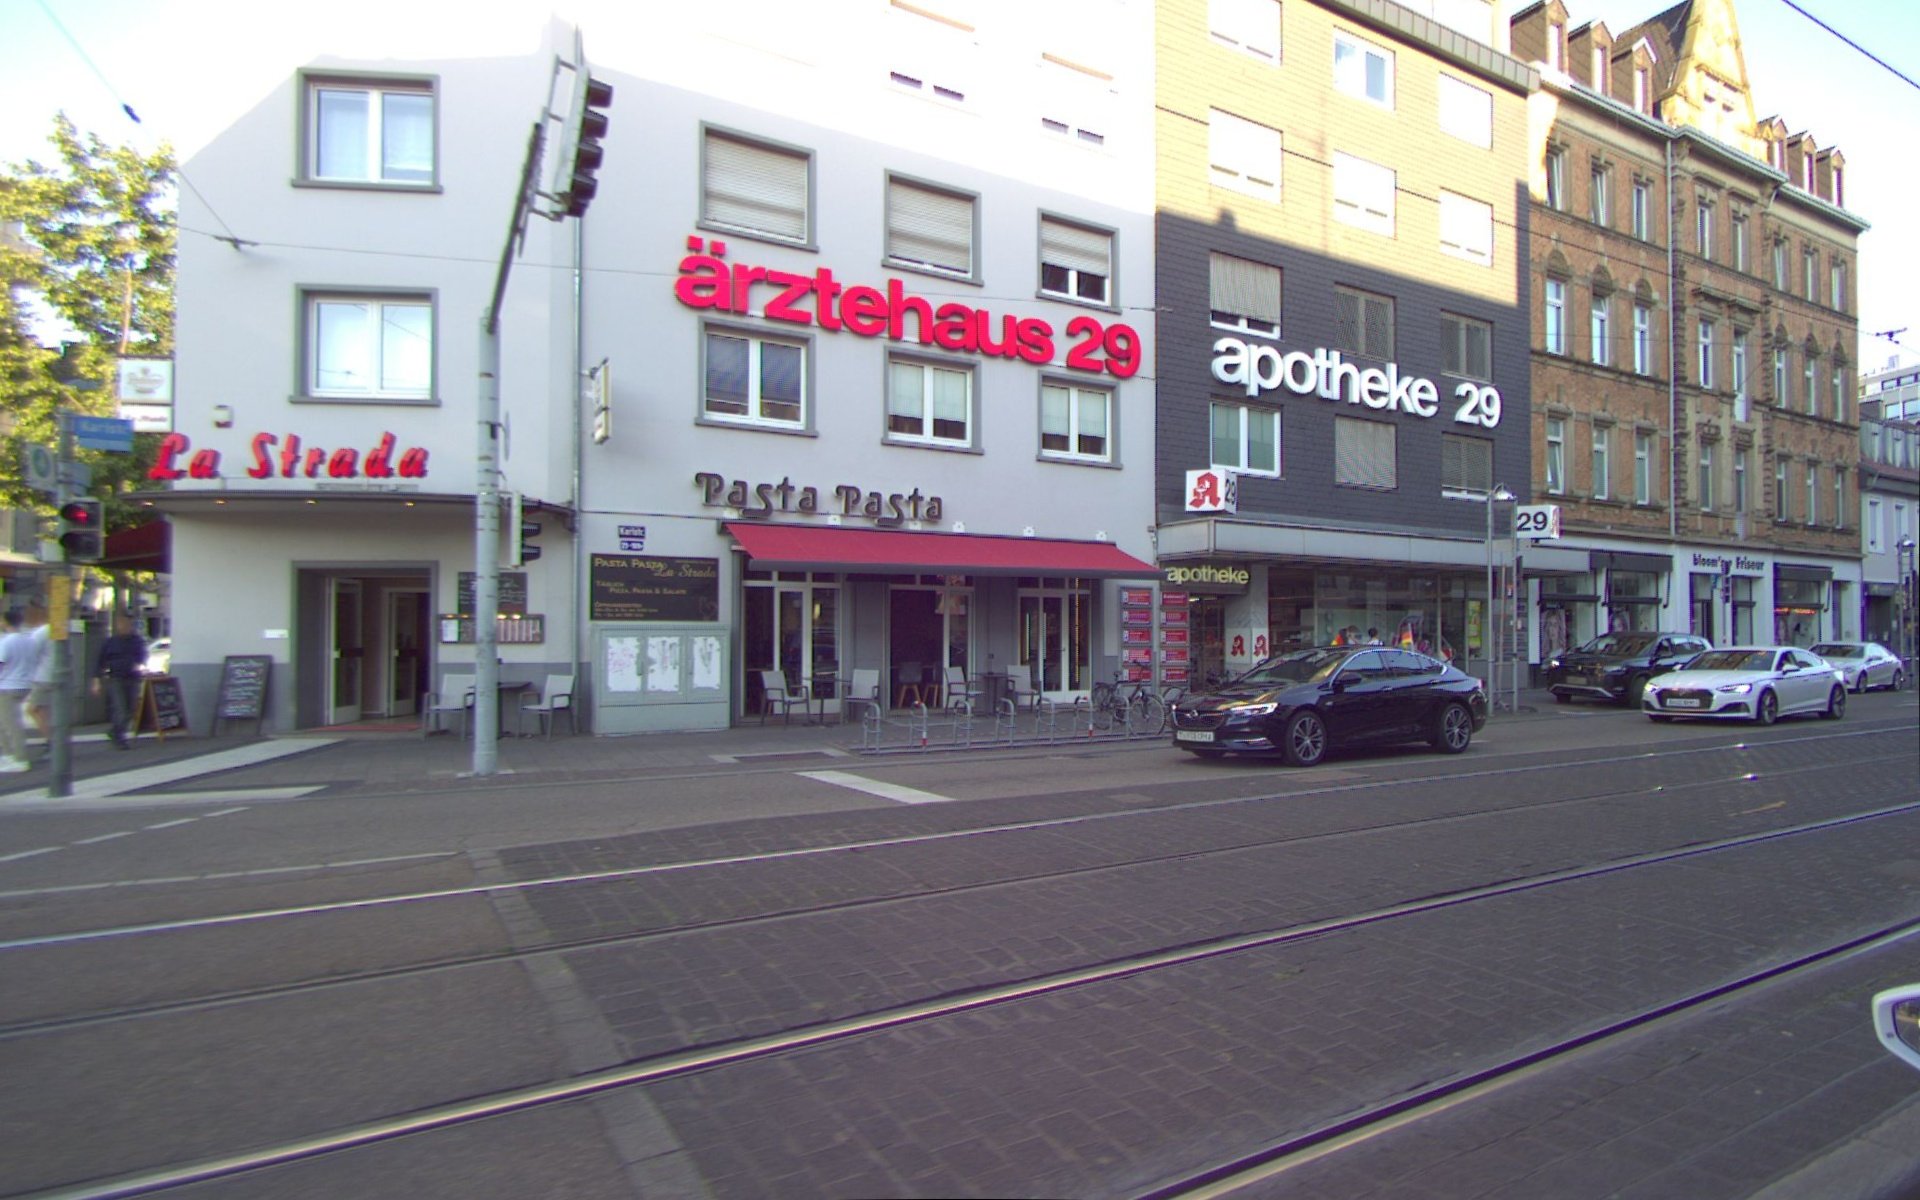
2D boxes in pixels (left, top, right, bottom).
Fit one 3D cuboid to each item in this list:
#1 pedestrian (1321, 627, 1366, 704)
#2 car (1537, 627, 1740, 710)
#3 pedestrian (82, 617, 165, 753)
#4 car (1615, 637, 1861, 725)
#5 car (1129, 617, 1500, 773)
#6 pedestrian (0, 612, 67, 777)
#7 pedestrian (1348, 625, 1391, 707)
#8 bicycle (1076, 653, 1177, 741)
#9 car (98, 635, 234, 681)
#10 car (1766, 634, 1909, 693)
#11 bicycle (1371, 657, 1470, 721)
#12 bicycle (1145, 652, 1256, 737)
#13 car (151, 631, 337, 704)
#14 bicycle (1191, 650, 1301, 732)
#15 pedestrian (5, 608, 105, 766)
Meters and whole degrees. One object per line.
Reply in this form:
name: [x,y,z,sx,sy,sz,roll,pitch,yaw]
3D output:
pedestrian: [8.500,1.436,22.272,0.617,1.683,0.679,0,-1,-29]
car: [15.578,1.487,23.040,4.586,1.697,1.923,1,-1,-27]
pedestrian: [-10.812,1.074,13.013,0.706,1.698,0.697,1,-1,-32]
car: [14.630,1.460,18.858,4.600,1.471,1.985,1,-4,-29]
car: [4.720,1.163,13.270,4.669,1.750,1.986,1,-4,-29]
pedestrian: [-10.499,1.023,11.108,0.657,1.767,0.637,0,-1,-9]
pedestrian: [8.807,1.408,21.591,0.595,1.722,0.617,0,-1,-29]
bicycle: [2.666,1.534,16.289,0.546,1.227,1.882,1,0,-29]
car: [-26.024,1.878,33.096,1.822,1.367,3.806,-1,-2,-8]
car: [25.398,1.788,29.042,4.559,1.472,1.858,1,1,-32]
bicycle: [8.991,1.720,19.682,0.483,1.061,1.823,-1,1,-28]
bicycle: [4.033,1.555,17.020,0.546,1.240,2.103,1,0,-29]
car: [-15.545,1.419,22.041,1.613,1.463,3.606,0,-2,-3]
bicycle: [4.999,1.568,17.720,0.546,1.240,2.103,1,0,-29]
pedestrian: [-10.659,1.007,11.855,0.589,1.802,0.637,0,-1,-9]
